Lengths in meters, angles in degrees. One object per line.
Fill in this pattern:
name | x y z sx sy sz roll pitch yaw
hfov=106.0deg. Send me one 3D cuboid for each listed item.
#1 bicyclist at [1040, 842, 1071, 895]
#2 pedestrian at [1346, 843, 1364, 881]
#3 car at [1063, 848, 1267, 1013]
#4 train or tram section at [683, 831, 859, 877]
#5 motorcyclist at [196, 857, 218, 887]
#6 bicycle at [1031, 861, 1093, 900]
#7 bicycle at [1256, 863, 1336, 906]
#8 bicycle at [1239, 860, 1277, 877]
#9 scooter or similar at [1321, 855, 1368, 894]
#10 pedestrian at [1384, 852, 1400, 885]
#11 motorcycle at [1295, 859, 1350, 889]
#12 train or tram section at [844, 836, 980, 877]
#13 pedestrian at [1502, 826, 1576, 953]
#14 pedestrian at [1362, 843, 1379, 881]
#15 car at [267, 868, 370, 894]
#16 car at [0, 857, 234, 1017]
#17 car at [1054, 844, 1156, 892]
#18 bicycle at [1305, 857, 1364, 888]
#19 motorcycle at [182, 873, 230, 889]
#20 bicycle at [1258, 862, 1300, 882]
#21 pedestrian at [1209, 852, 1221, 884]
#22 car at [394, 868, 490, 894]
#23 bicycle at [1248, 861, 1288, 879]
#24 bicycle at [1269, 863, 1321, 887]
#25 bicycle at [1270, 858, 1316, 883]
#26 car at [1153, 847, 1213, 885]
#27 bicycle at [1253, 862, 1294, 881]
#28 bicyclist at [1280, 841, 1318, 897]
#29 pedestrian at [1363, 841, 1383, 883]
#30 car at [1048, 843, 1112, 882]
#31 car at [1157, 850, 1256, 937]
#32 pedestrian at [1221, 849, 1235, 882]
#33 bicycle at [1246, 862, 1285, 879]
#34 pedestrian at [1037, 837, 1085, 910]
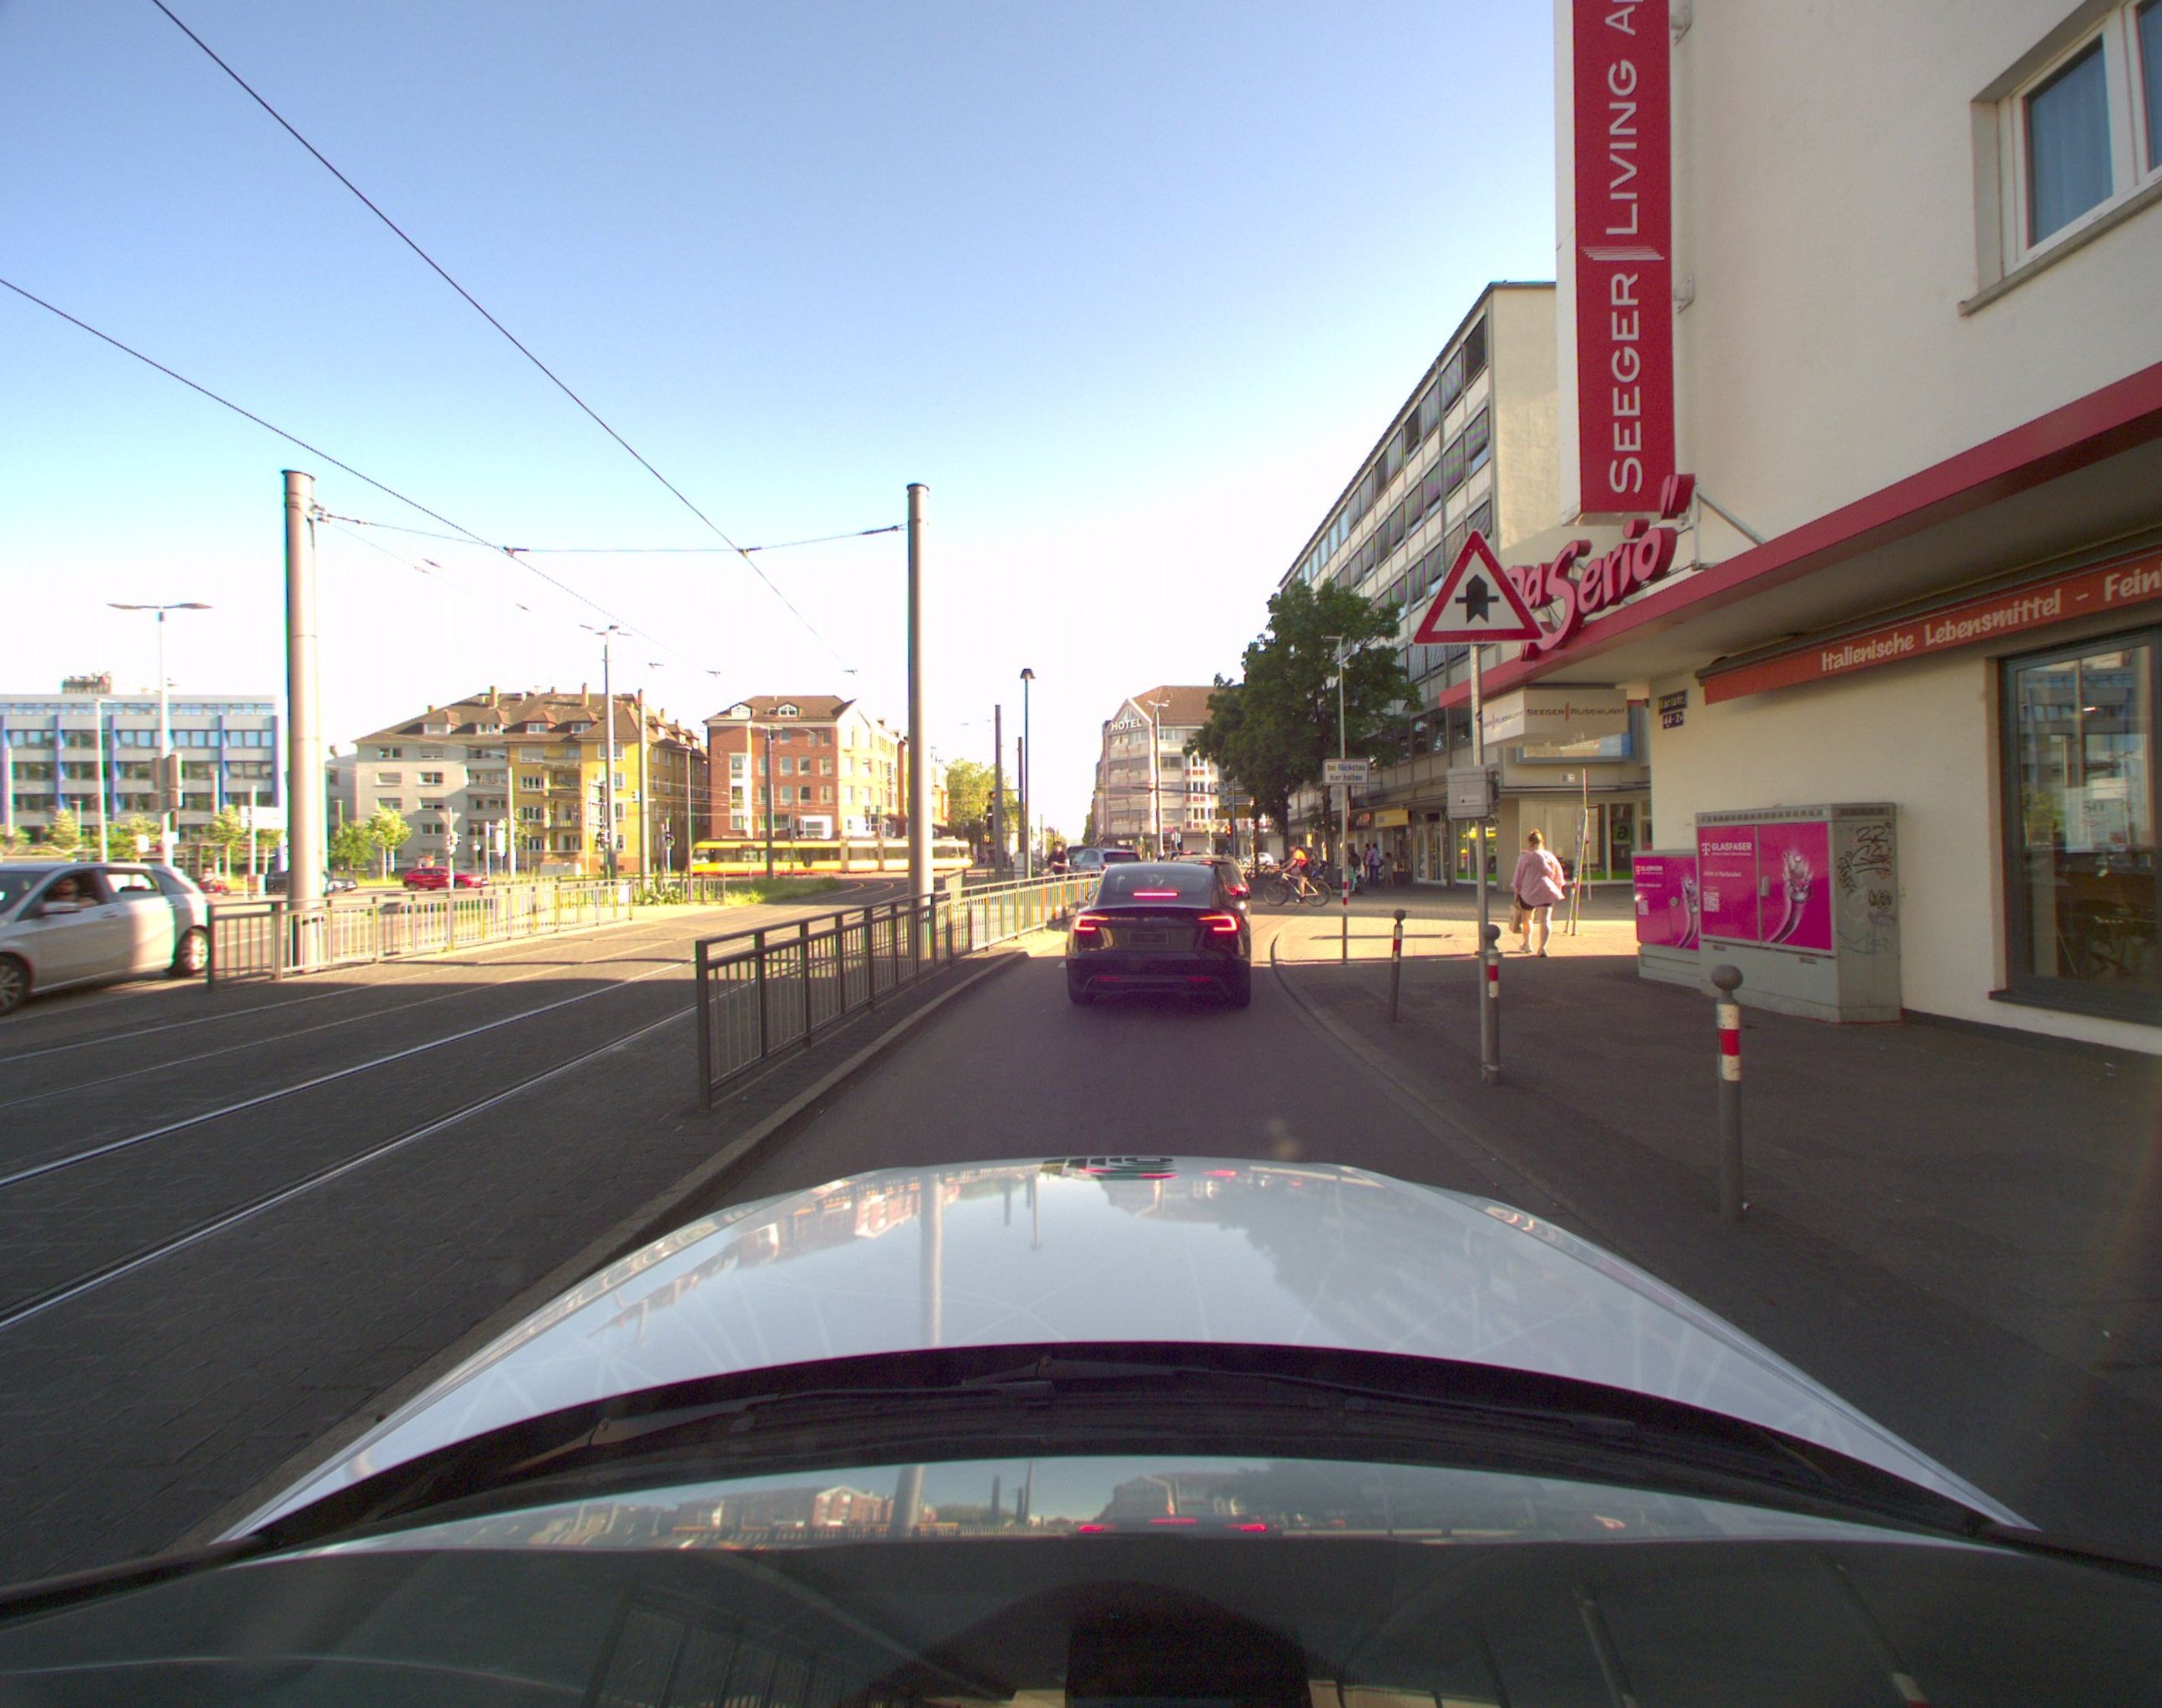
bicyclist | -0.740 0.426 23.497 0.835 1.500 0.558 1 -1 -8
pedestrian | 12.122 0.348 36.014 0.529 1.641 0.607 -2 -1 2
car | 0.742 0.707 9.295 1.843 1.484 3.785 1 0 -1
train or tram section | -26.978 0.084 71.619 14.241 3.715 2.656 1 -1 -32
motorcyclist | -51.763 1.062 48.236 0.781 1.708 0.387 1 -1 -8
bicycle | -0.563 0.767 23.559 1.727 1.088 0.676 1 -1 -8
bicycle | 5.680 0.791 21.491 1.957 1.072 0.778 1 -1 19
bicycle | 9.443 0.782 43.516 1.917 0.890 0.526 0 -1 1
scooter or similar | 9.025 0.697 27.847 1.416 1.317 0.691 0 -2 -25
pedestrian | 12.254 0.570 32.100 0.418 1.280 0.531 -1 -1 2
motorcycle | 9.540 0.796 32.243 1.985 1.128 0.596 1 -1 0
train or tram section | -16.399 0.289 81.218 2.611 3.718 15.483 1 -1 36
pedestrian | 6.307 0.465 11.250 0.810 1.683 0.718 1 -1 23
pedestrian | 12.859 0.357 36.184 0.529 1.641 0.594 -2 -1 2
car | -46.349 1.617 49.587 4.145 1.490 1.932 1 0 -9
car | -11.952 0.853 9.000 1.787 1.568 4.265 -2 0 -19
car | 0.724 0.453 27.779 1.792 1.519 4.184 1 0 -25
bicycle | 9.424 0.686 30.273 2.044 1.121 0.483 0 -1 1
motorcycle | -51.821 1.606 48.247 1.997 0.893 0.559 1 -1 -8
bicycle | 9.564 0.857 39.342 1.917 0.950 0.526 0 -1 1
pedestrian | 6.985 0.735 42.547 0.559 1.683 0.751 0 0 5
car | -39.010 1.637 49.840 4.145 1.490 1.932 0 0 -9
bicycle | 9.512 0.804 41.491 1.917 0.888 0.526 0 -1 1
bicycle | 9.043 0.886 34.450 2.044 0.982 0.483 0 -1 1
bicycle | 9.464 0.725 36.352 1.917 1.097 0.555 0 -1 1
car | 4.275 0.501 34.668 1.821 1.519 3.643 1 0 -5
bicycle | 9.539 0.863 40.358 1.917 0.950 0.526 0 -1 1
bicyclist | 5.750 0.386 21.463 0.900 1.438 0.631 1 -1 18
pedestrian | 11.554 0.320 32.243 0.593 1.641 0.466 -2 -1 1
car | -0.124 0.343 34.119 1.826 1.519 4.200 1 0 -13
car | 2.489 0.656 15.802 1.643 1.418 4.012 1 1 11
pedestrian | 7.275 0.545 40.279 0.626 1.613 0.643 0 0 4
bicycle | 9.608 0.857 42.499 1.917 0.890 0.526 0 -1 1
pedestrian | -0.494 0.467 19.938 1.009 1.742 0.524 1 -1 -25
